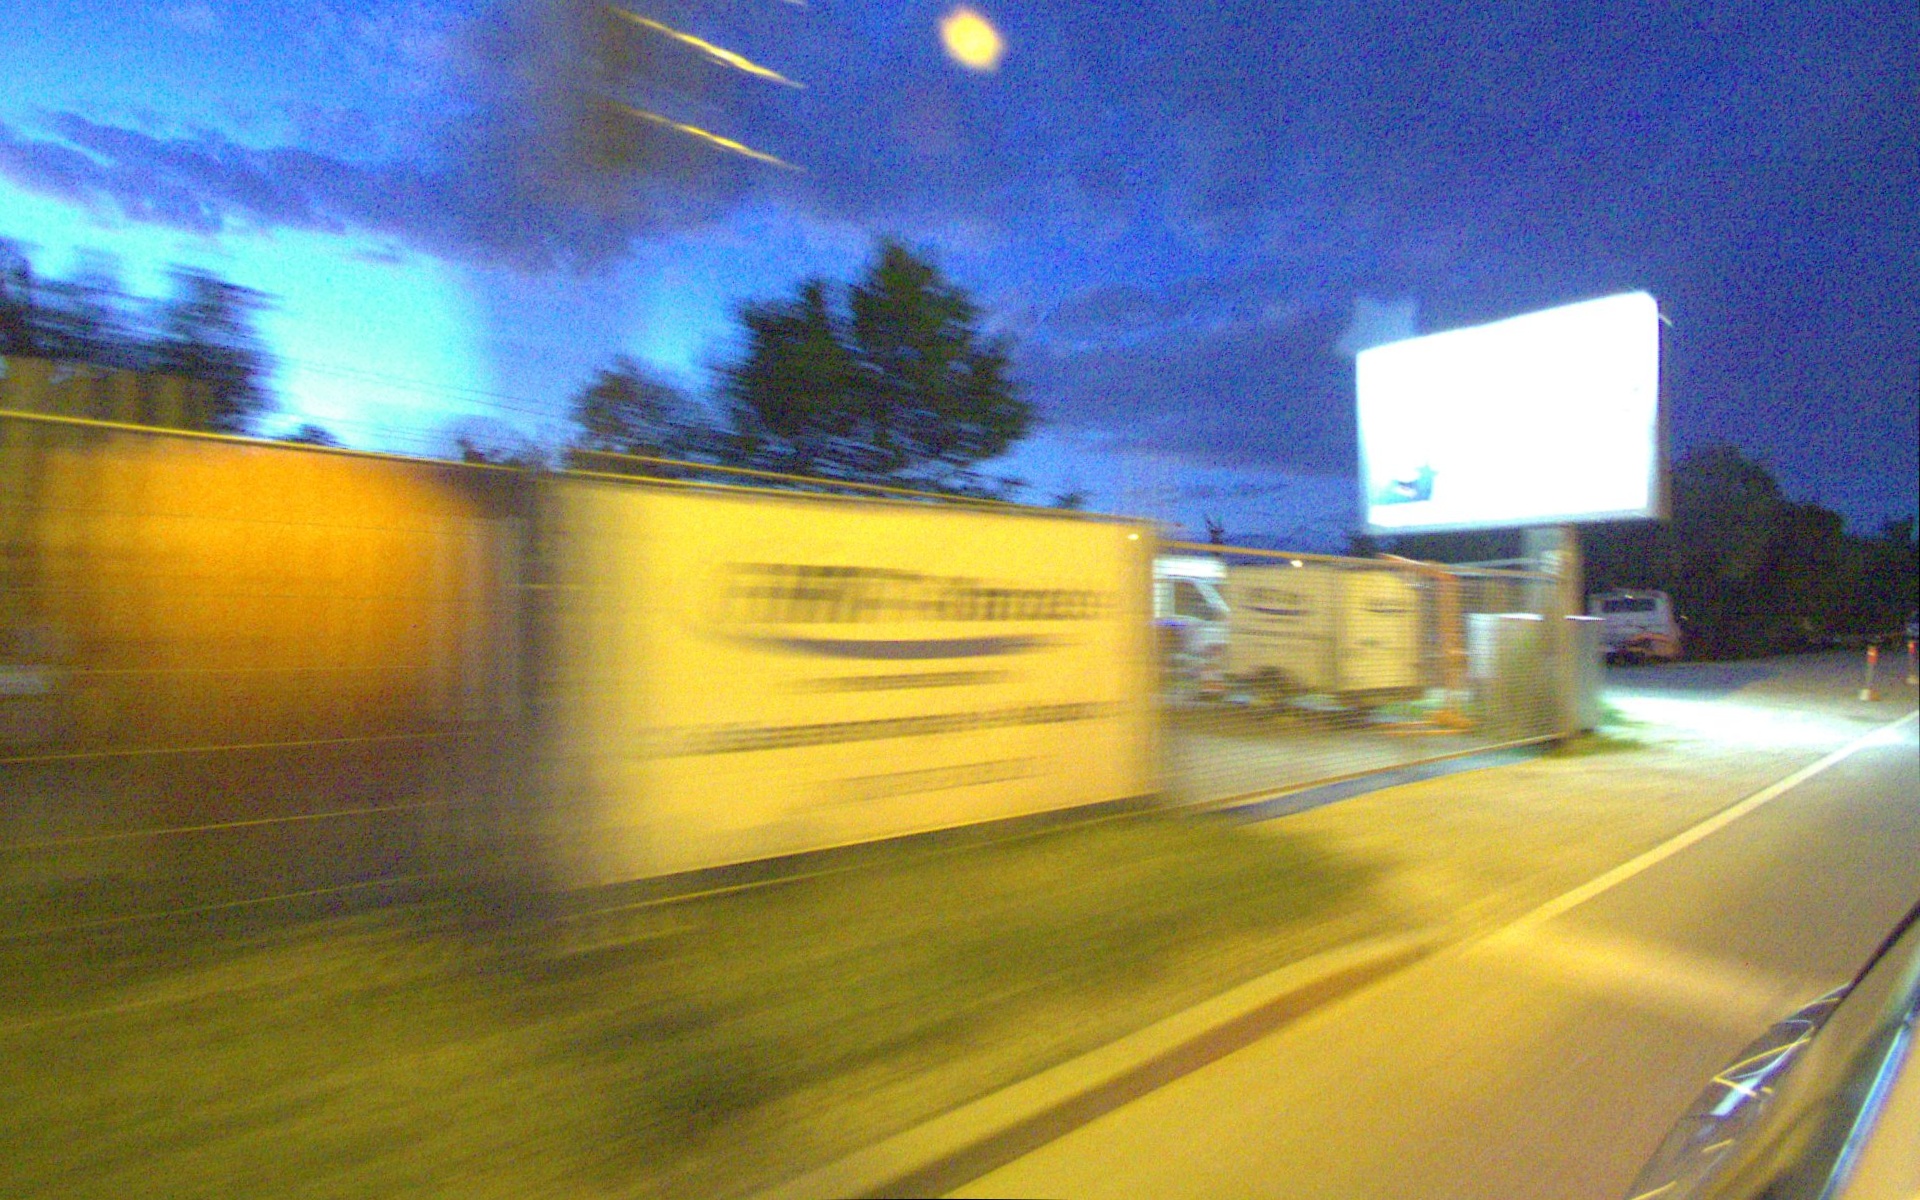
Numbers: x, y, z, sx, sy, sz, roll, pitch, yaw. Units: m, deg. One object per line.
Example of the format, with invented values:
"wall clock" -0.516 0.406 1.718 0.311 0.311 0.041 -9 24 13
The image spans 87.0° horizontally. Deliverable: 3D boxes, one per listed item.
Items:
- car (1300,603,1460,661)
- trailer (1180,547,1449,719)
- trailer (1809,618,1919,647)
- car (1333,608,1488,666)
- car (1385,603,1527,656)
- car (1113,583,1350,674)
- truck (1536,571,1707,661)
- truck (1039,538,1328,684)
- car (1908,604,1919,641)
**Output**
"car" 11.856 0.892 28.752 1.680 1.535 3.859 1 -1 -43
"trailer" 4.705 0.408 14.027 1.580 2.039 3.766 1 -1 -17
"trailer" 34.864 1.210 38.615 9.444 0.979 2.177 1 -3 -40
"car" 13.365 1.057 30.177 1.680 1.616 3.859 1 -1 -43
"car" 16.365 0.953 33.494 1.680 1.625 3.859 1 -1 -43
"car" 6.056 0.628 23.199 1.953 1.860 5.085 0 -1 -38
"truck" 19.573 0.453 29.729 7.612 2.313 2.380 0 -2 -43
"truck" 4.496 0.253 21.169 2.430 2.633 5.537 1 -2 -42
"car" 41.804 0.950 43.134 1.934 1.572 3.936 -2 -2 44
